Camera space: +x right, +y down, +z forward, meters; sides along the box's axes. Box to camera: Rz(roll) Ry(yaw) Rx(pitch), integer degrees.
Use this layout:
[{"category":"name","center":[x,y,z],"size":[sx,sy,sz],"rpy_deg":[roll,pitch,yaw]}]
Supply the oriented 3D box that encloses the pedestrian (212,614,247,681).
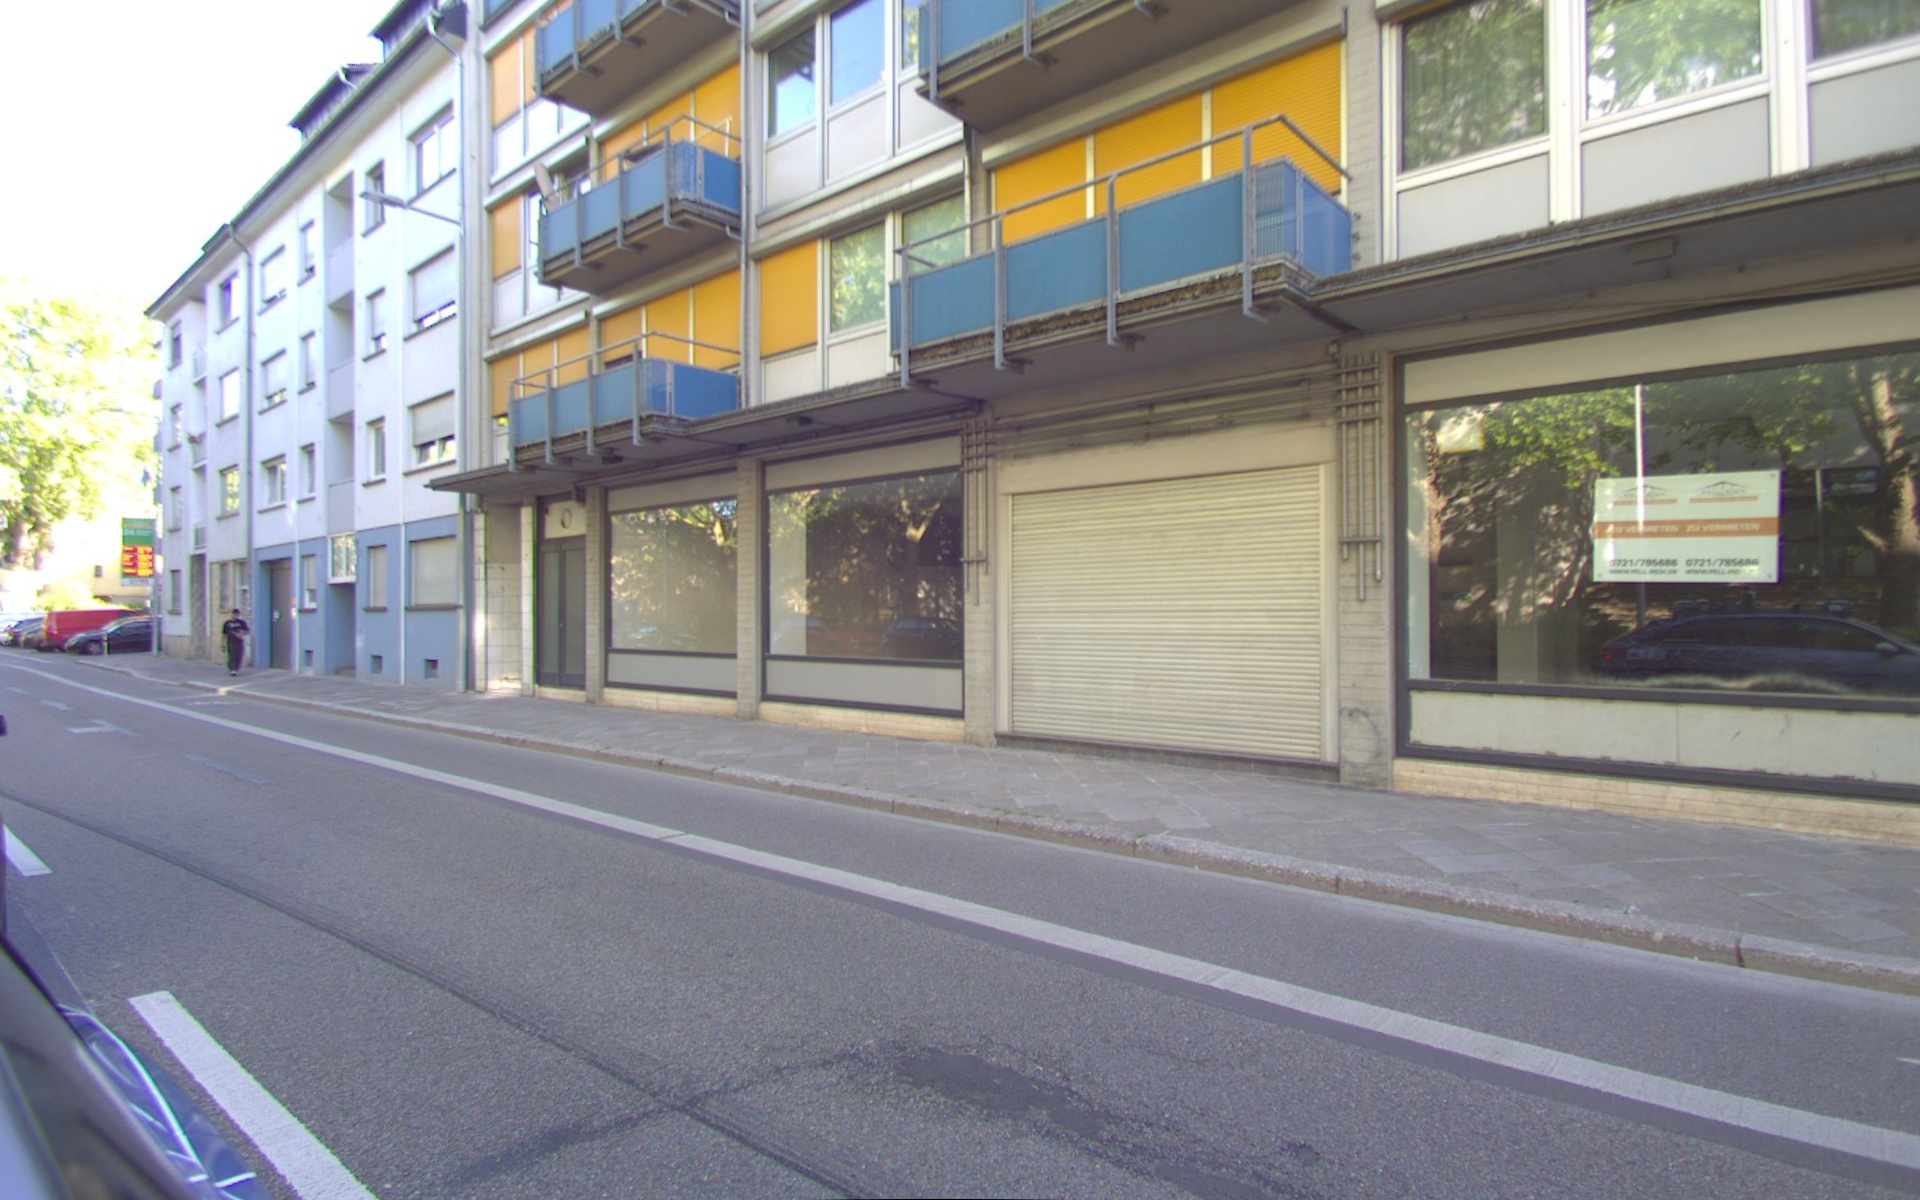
[{"category":"pedestrian","center":[-19.202,1.234,26.601],"size":[0.655,1.708,0.604],"rpy_deg":[-2,-1,41]}]

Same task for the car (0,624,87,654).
[{"category":"car","center":[-54.489,2.276,59.777],"size":[1.652,1.480,4.201],"rpy_deg":[-1,1,41]}]

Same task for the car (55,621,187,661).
[{"category":"car","center":[-36.486,1.741,44.082],"size":[1.652,1.411,4.201],"rpy_deg":[-1,1,41]}]

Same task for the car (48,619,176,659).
[{"category":"car","center":[-38.179,1.728,45.645],"size":[1.652,1.480,4.201],"rpy_deg":[-1,1,41]}]

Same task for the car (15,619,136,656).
[{"category":"car","center":[-42.748,1.787,49.002],"size":[1.652,1.480,4.201],"rpy_deg":[-1,1,41]}]

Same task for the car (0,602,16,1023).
[{"category":"car","center":[-5.634,0.796,4.394],"size":[4.300,1.510,1.826],"rpy_deg":[-1,-1,41]}]

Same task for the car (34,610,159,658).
[{"category":"car","center":[-40.560,1.556,47.607],"size":[1.817,1.933,4.202],"rpy_deg":[-1,1,40]}]

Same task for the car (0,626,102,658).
[{"category":"car","center":[-50.456,2.290,56.093],"size":[1.652,1.480,4.201],"rpy_deg":[-1,1,41]}]

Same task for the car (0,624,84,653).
[{"category":"car","center":[-55.871,2.296,61.185],"size":[1.652,1.480,4.201],"rpy_deg":[-1,1,41]}]
